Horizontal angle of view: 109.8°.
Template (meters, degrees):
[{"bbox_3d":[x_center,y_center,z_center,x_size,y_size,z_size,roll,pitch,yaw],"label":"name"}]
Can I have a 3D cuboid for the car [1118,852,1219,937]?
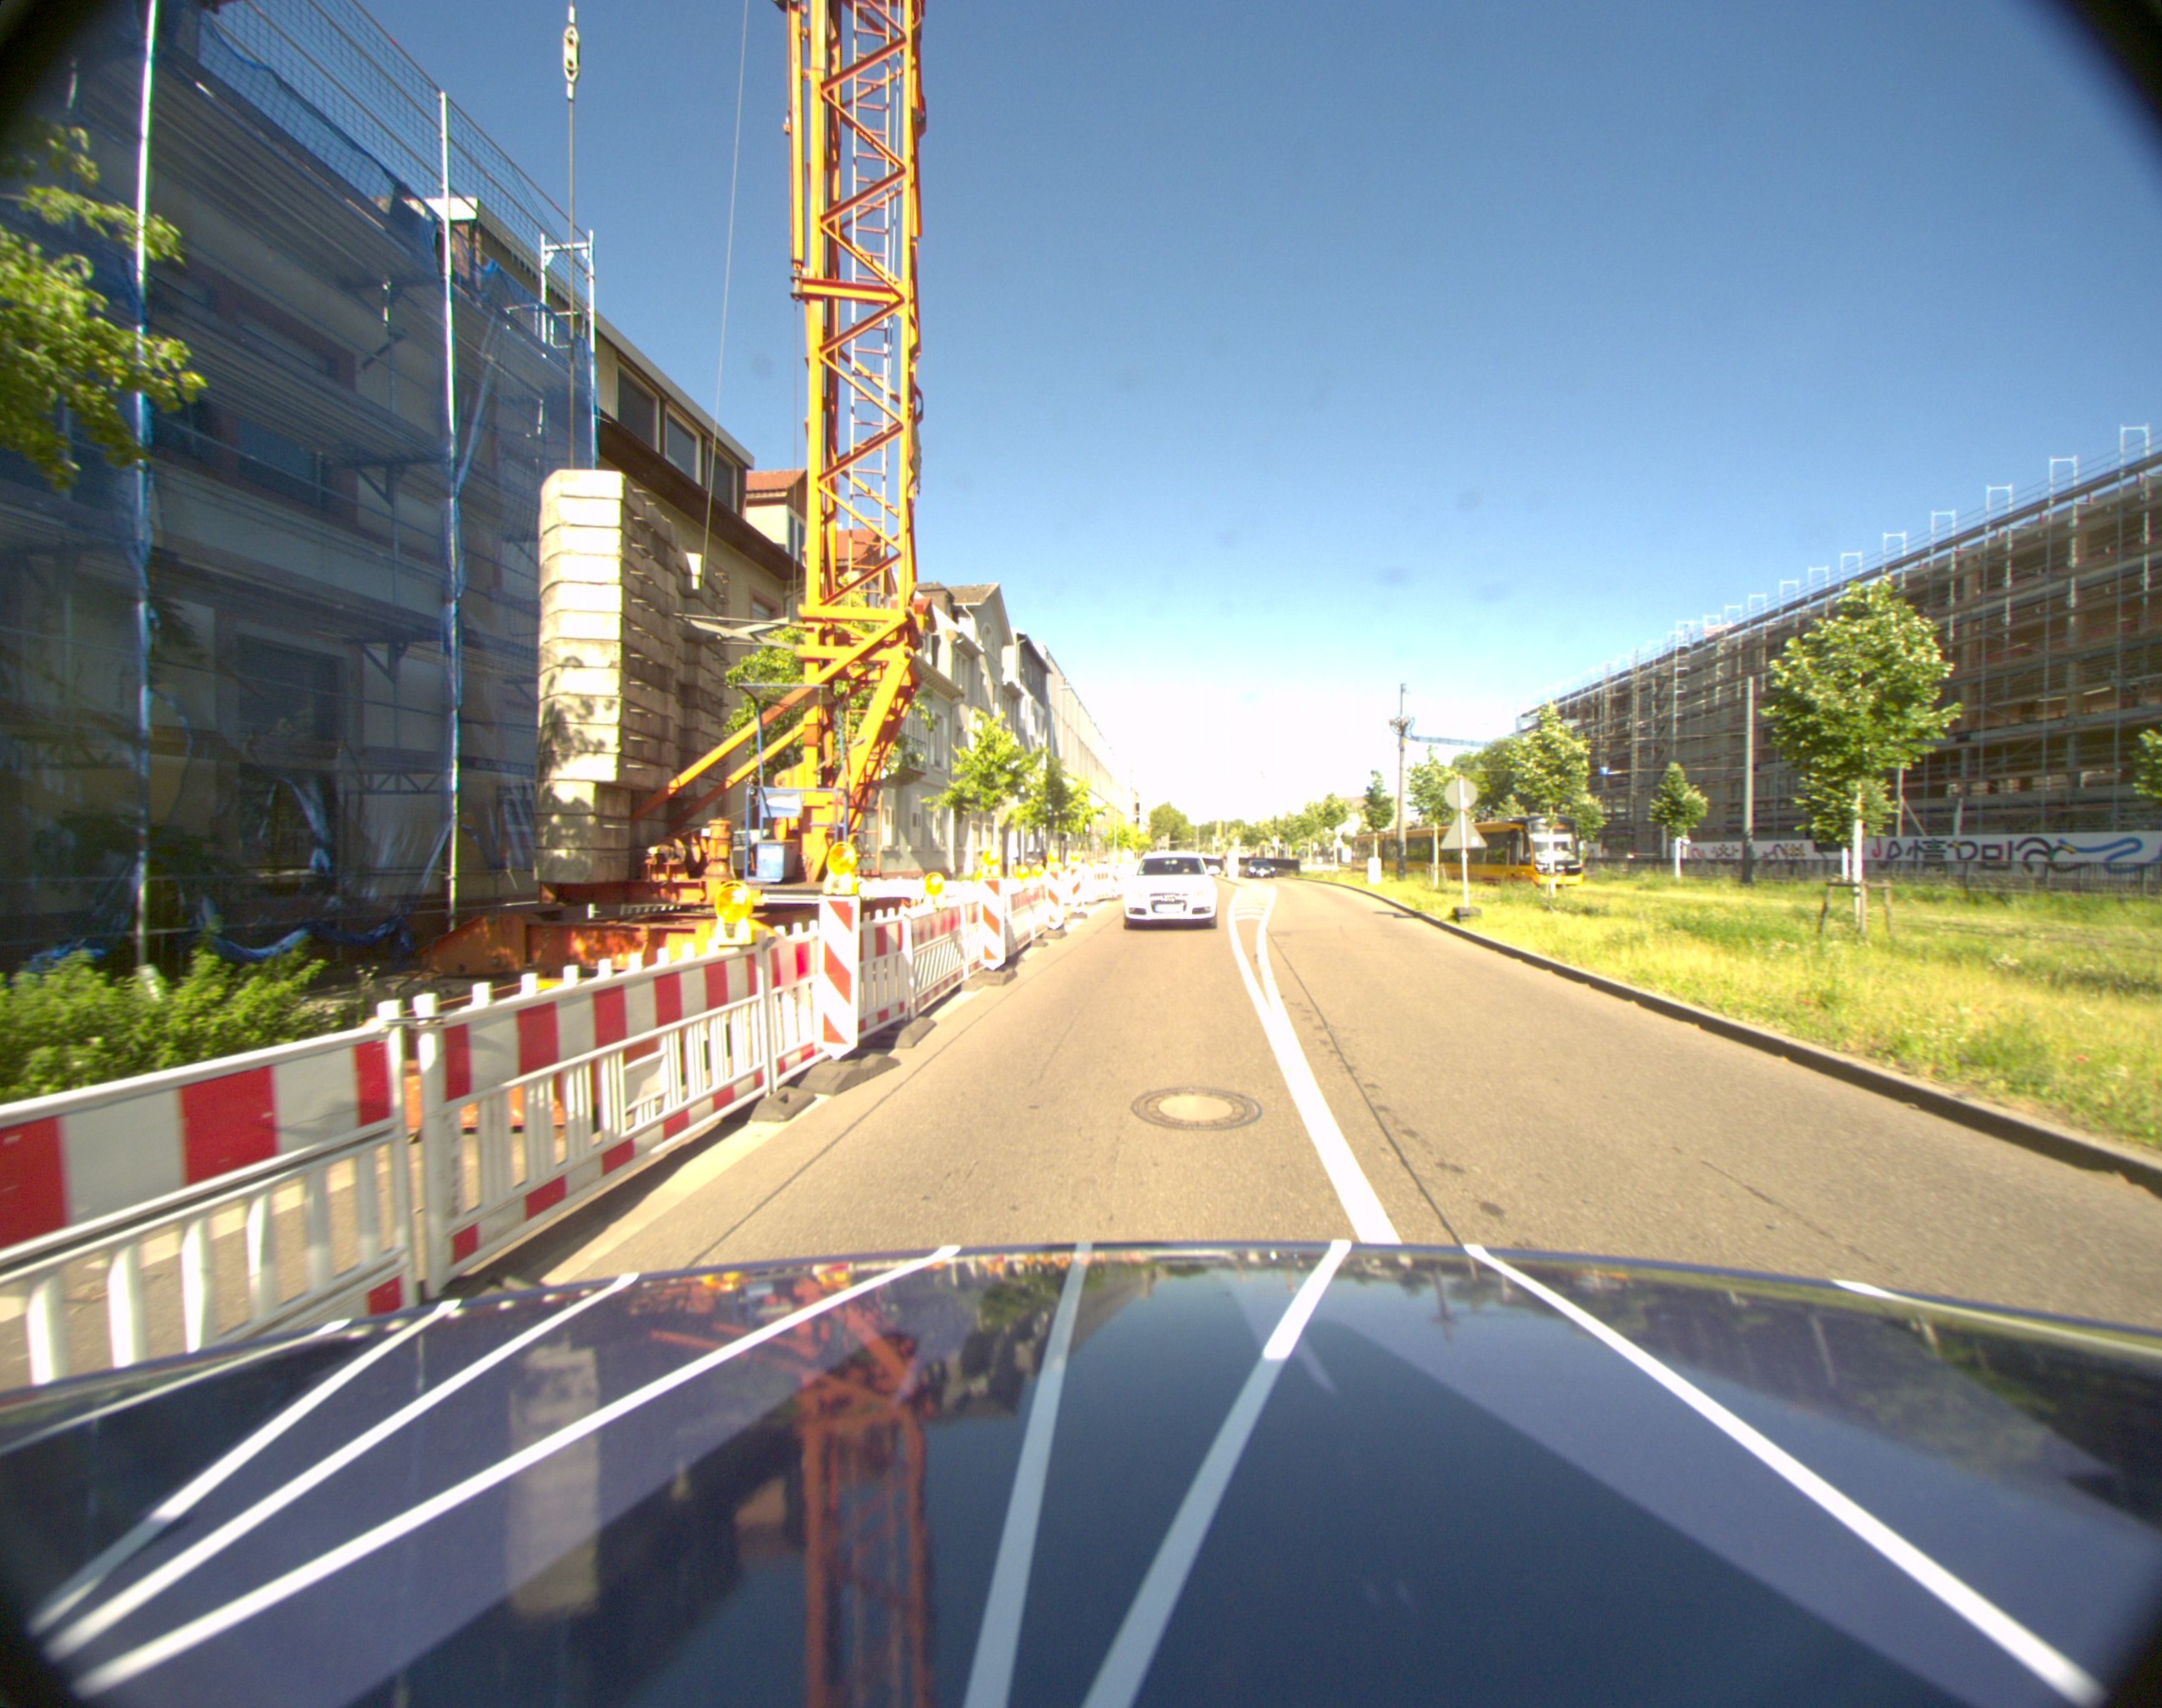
[{"bbox_3d":[2.001,0.802,16.944,1.933,1.624,4.002,-1,0,8],"label":"car"}]

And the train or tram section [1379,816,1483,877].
[{"bbox_3d":[23.404,-0.528,51.818,2.821,3.617,12.796,1,1,8],"label":"train or tram section"}]

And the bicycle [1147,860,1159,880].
[{"bbox_3d":[4.335,0.971,45.803,0.610,1.144,1.987,0,1,2],"label":"bicycle"}]

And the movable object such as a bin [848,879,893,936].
[{"bbox_3d":[-4.257,1.066,15.394,0.589,1.052,0.783,5,1,3],"label":"movable object such as a bin"}]

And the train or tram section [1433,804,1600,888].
[{"bbox_3d":[21.689,-0.417,39.115,2.821,3.617,12.796,1,1,8],"label":"train or tram section"}]

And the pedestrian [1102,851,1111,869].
[{"bbox_3d":[2.931,0.661,86.175,0.877,1.914,0.895,3,3,7],"label":"pedestrian"}]

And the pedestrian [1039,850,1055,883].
[{"bbox_3d":[-1.963,0.715,43.982,0.796,1.917,0.769,-1,0,-9],"label":"pedestrian"}]

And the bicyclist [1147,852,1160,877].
[{"bbox_3d":[4.364,0.642,45.675,0.755,1.454,0.587,-1,1,2],"label":"bicyclist"}]

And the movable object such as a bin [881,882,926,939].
[{"bbox_3d":[-3.536,1.118,15.197,0.596,1.052,0.731,4,1,8],"label":"movable object such as a bin"}]

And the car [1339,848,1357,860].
[{"bbox_3d":[49.924,-0.026,142.294,2.336,2.146,4.399,0,1,7],"label":"car"}]

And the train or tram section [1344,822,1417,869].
[{"bbox_3d":[25.081,-0.699,64.434,2.821,3.617,12.796,1,1,8],"label":"train or tram section"}]

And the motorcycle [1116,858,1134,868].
[{"bbox_3d":[4.990,1.039,86.659,1.876,1.076,0.645,2,2,31],"label":"motorcycle"}]

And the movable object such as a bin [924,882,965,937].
[{"bbox_3d":[-2.737,1.115,15.322,0.589,1.051,0.731,-1,0,8],"label":"movable object such as a bin"}]

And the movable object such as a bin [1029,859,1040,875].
[{"bbox_3d":[-3.066,0.857,50.116,0.604,1.076,0.704,0,0,8],"label":"movable object such as a bin"}]

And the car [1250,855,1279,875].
[{"bbox_3d":[14.471,0.859,60.091,1.926,1.435,4.180,0,0,10],"label":"car"}]

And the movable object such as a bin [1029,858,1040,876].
[{"bbox_3d":[-3.016,0.839,49.284,0.589,1.101,0.704,0,0,8],"label":"movable object such as a bin"}]
